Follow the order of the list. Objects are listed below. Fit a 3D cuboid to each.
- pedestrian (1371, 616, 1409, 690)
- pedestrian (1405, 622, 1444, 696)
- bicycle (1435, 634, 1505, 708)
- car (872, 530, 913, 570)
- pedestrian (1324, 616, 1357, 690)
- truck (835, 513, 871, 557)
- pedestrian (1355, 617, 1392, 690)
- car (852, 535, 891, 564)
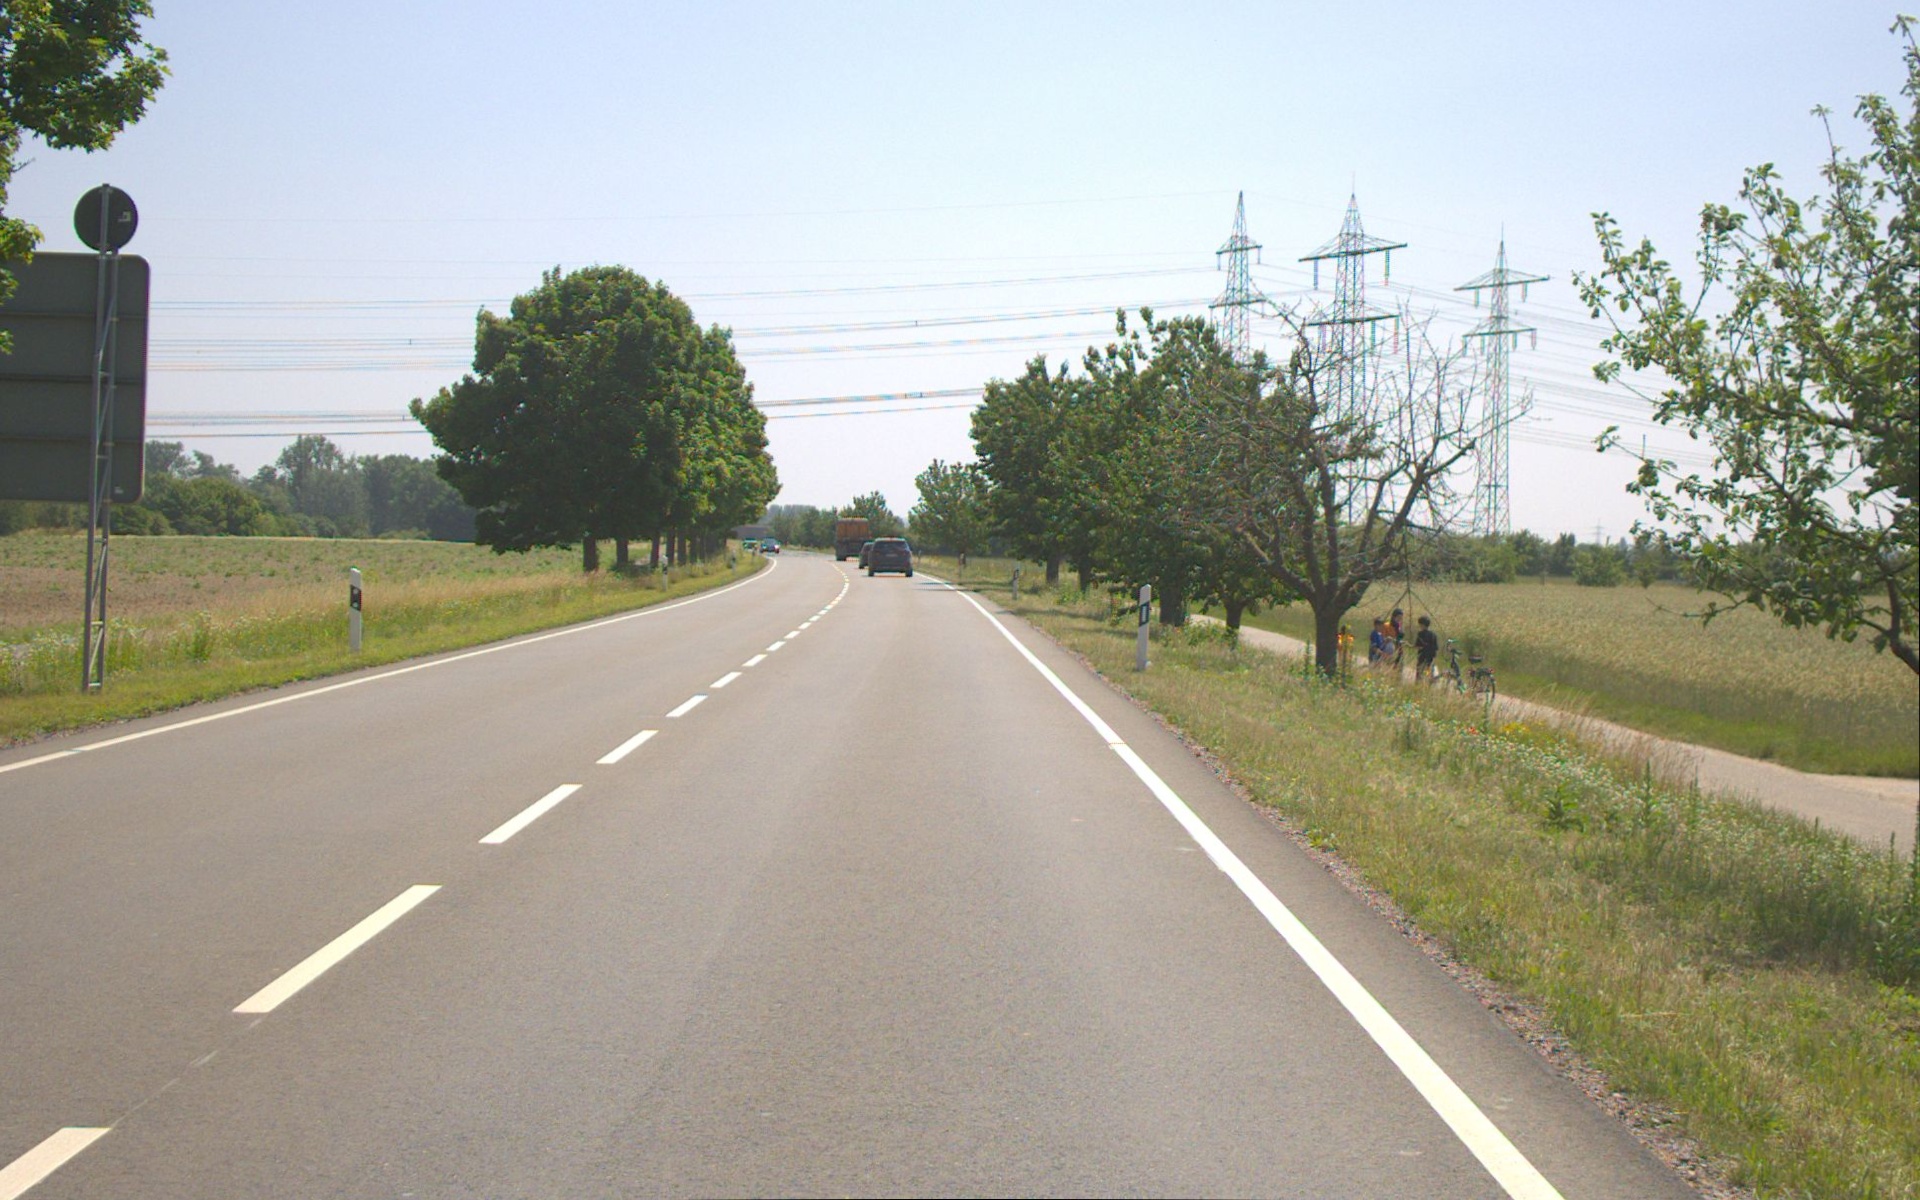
[{"bbox_3d":[7.763,0.951,62.092,0.487,1.309,0.441,2,1,42],"label":"pedestrian"},{"bbox_3d":[8.251,1.045,61.096,0.487,1.291,0.441,2,1,45],"label":"pedestrian"},{"bbox_3d":[8.588,1.185,57.943,0.475,1.161,1.683,1,1,-16],"label":"bicycle"},{"bbox_3d":[-2.931,-2.151,148.771,1.714,1.688,3.989,1,1,-2],"label":"car"},{"bbox_3d":[6.748,0.942,61.014,0.440,1.291,0.487,1,1,-8],"label":"pedestrian"},{"bbox_3d":[-7.979,-4.841,255.821,2.370,3.129,8.749,2,1,-4],"label":"truck"},{"bbox_3d":[7.410,0.961,61.665,0.486,1.291,0.441,2,1,32],"label":"pedestrian"},{"bbox_3d":[-4.868,-2.780,188.677,1.850,1.517,4.001,1,1,-5],"label":"car"}]
